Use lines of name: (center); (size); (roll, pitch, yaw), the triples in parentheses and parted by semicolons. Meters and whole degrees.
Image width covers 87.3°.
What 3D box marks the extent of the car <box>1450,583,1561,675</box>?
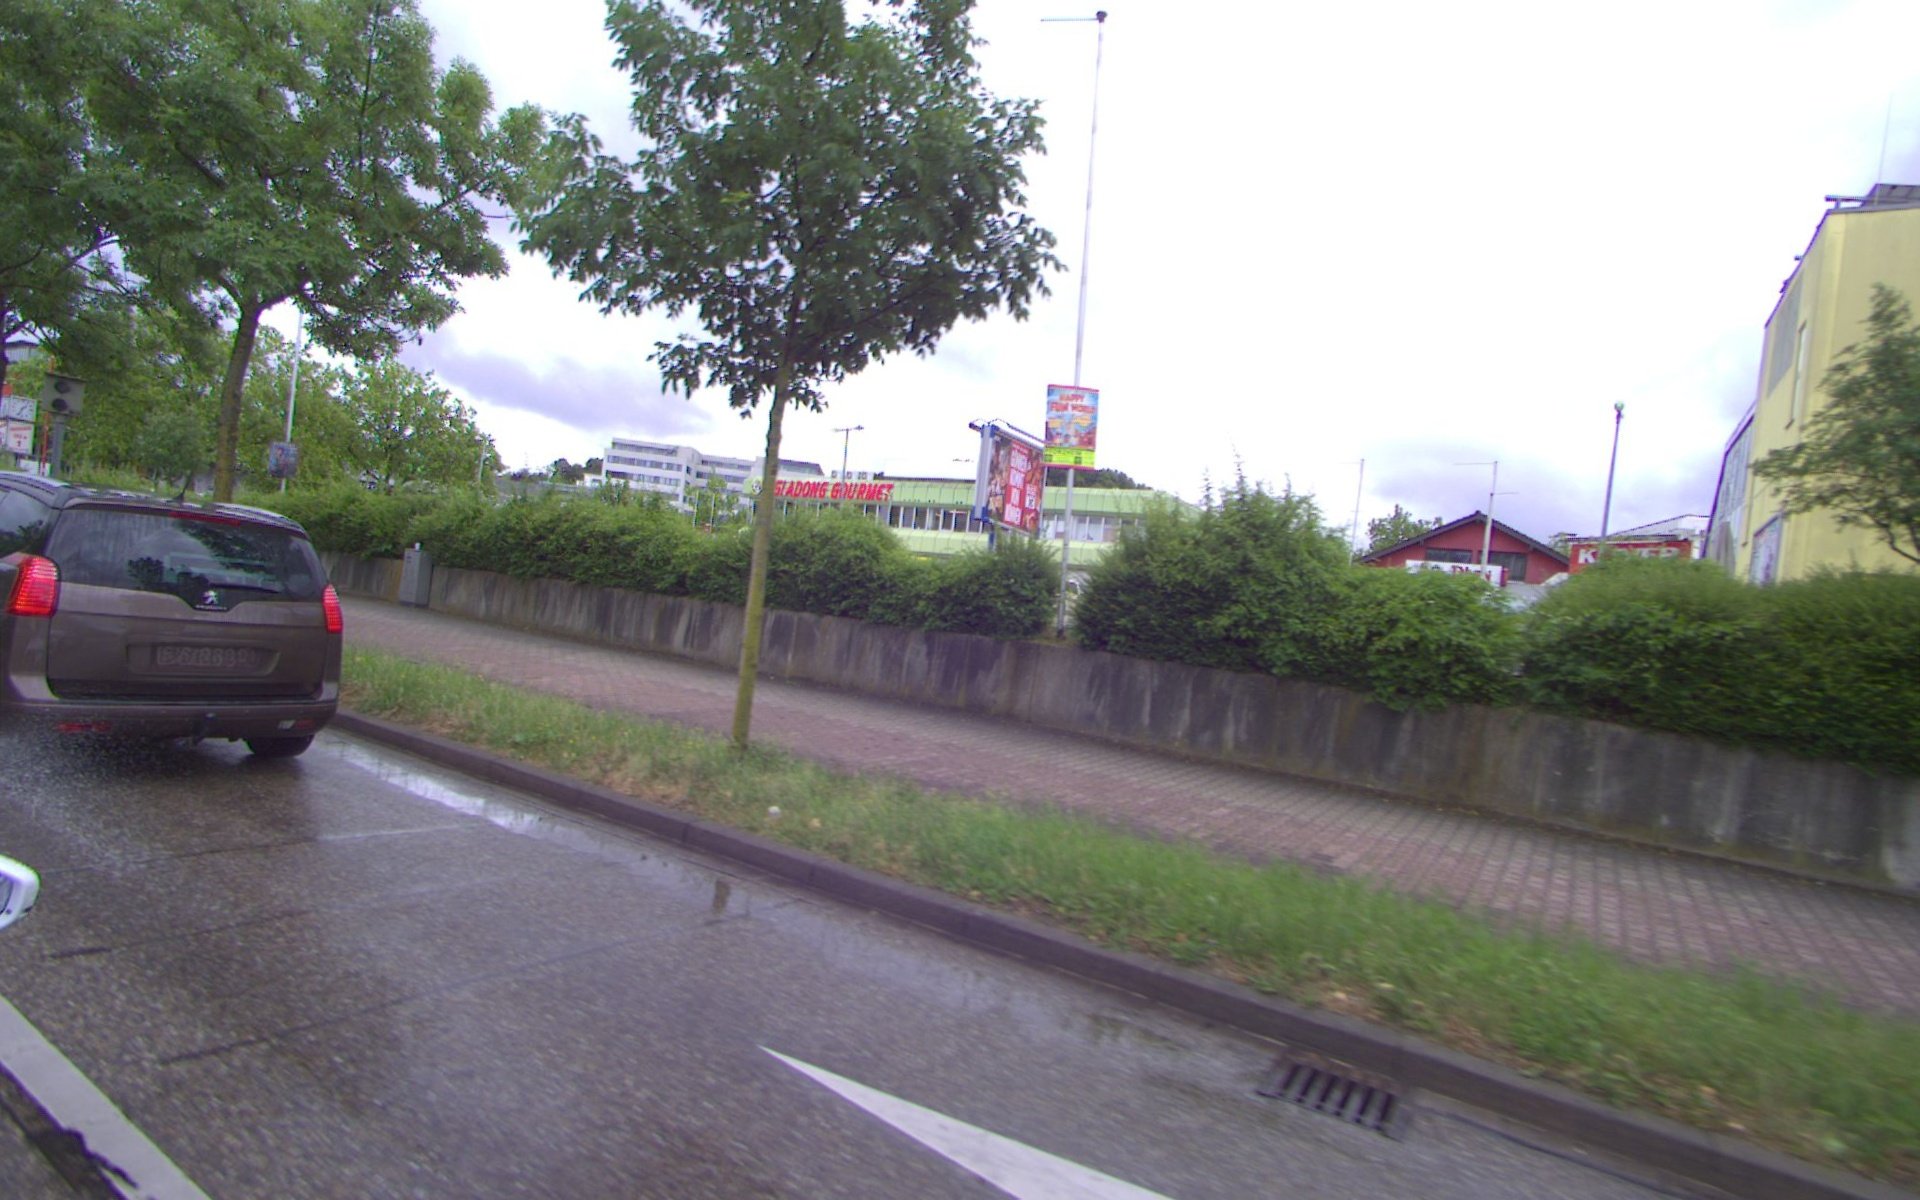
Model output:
car: (13.040, 0.740, 24.007); (1.966, 1.801, 3.993); (7, 0, 30)

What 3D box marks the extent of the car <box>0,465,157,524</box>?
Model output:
car: (-32.122, -3.804, 36.721); (1.628, 1.460, 3.989); (7, 0, 34)

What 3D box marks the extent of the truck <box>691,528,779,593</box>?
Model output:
truck: (-16.224, -2.844, 72.536); (5.051, 3.760, 3.157); (8, 0, 32)

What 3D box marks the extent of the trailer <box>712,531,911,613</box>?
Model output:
trailer: (-10.428, -2.011, 68.820); (14.567, 3.760, 3.157); (8, 0, 32)

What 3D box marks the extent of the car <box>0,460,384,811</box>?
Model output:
car: (-5.891, 0.014, 6.564); (4.397, 1.644, 1.728); (7, 0, 32)
